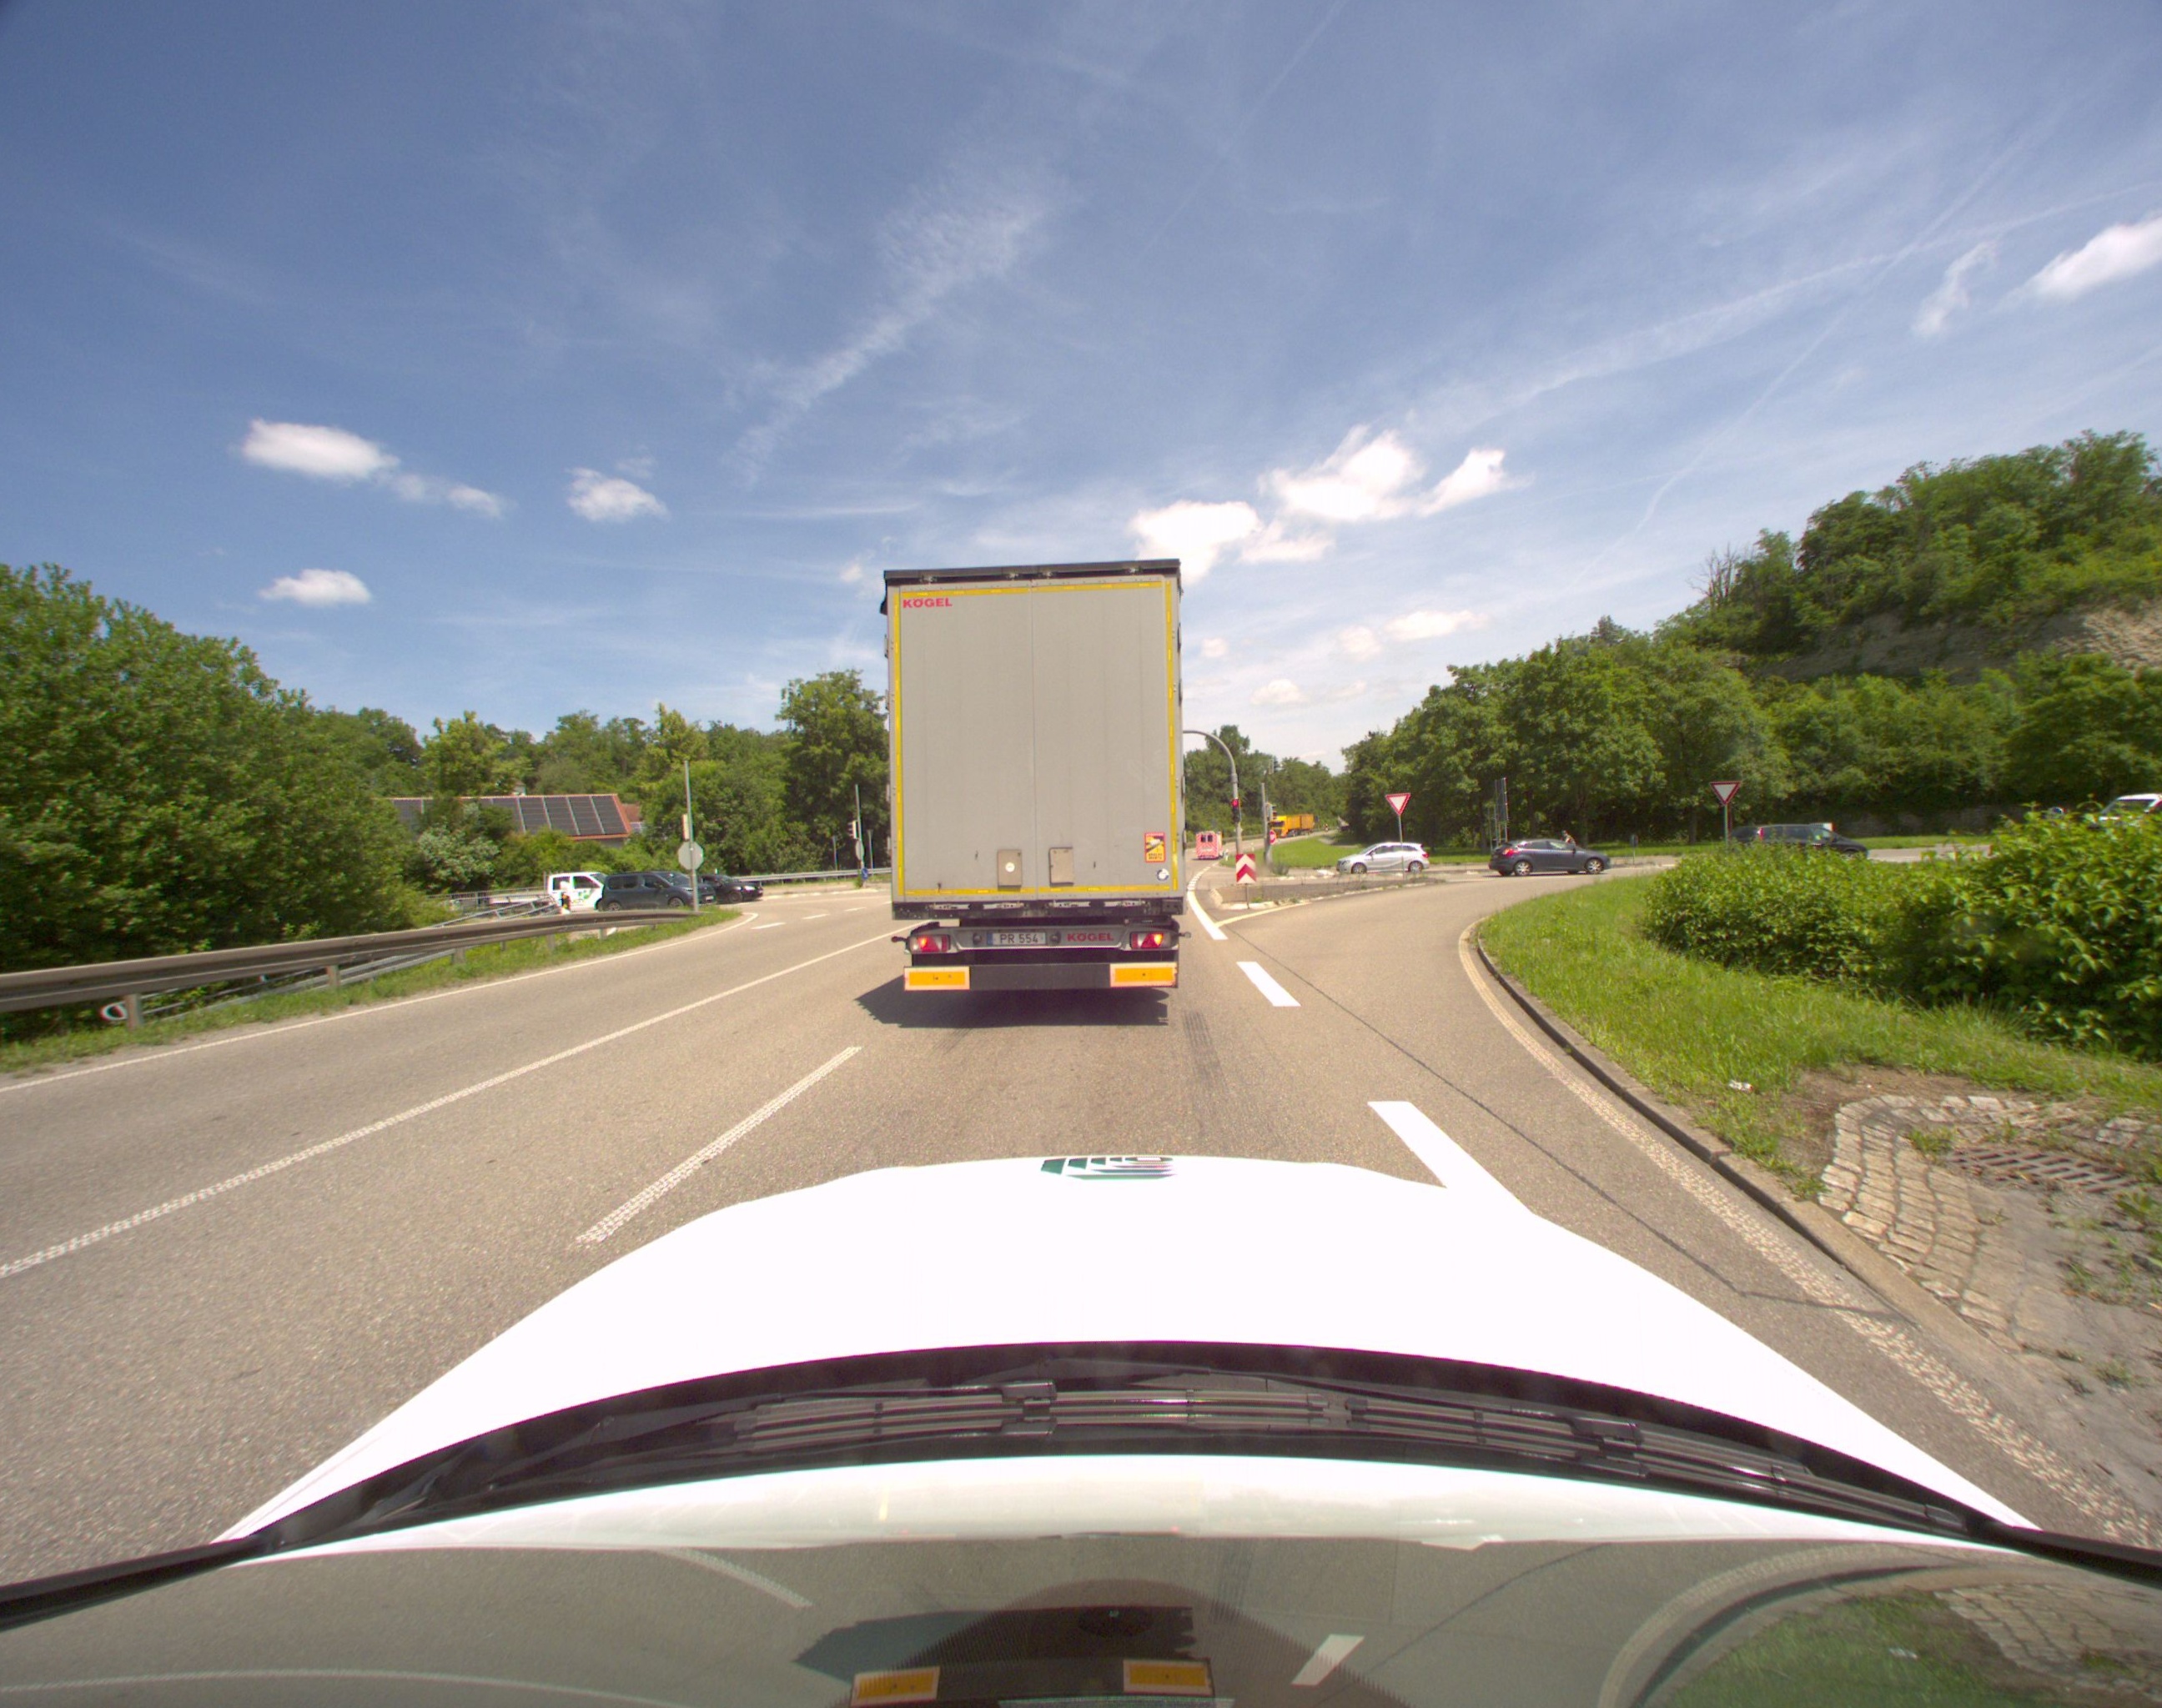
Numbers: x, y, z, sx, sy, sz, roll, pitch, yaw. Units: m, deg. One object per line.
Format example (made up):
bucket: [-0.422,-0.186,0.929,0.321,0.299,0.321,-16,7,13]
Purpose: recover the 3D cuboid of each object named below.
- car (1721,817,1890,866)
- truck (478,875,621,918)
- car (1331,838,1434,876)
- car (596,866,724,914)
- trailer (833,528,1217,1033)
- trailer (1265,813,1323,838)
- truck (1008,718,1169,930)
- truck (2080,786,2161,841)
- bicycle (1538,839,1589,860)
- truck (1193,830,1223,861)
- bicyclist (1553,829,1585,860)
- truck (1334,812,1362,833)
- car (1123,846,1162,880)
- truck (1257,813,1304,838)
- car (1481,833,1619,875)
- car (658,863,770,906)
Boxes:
car: [28.319,-0.461,31.950,4.912,1.785,1.998,-1,-2,-2]
truck: [-23.543,1.868,36.262,4.877,1.791,2.036,0,-2,-11]
car: [14.744,0.174,40.078,4.405,1.718,2.003,-1,-2,6]
car: [-17.008,1.441,33.018,4.206,1.770,2.006,-2,-1,11]
trailer: [-0.056,-0.589,12.936,3.038,4.034,12.571,-2,0,4]
trailer: [42.307,-5.591,160.735,4.962,4.362,20.972,-1,1,32]
truck: [0.363,-0.587,19.186,3.025,4.034,6.636,-2,0,4]
truck: [49.095,-1.840,36.649,5.114,2.296,2.005,-1,-2,9]
bicycle: [23.382,-0.220,39.493,1.983,0.995,0.797,-1,-2,-1]
truck: [12.366,-0.777,79.180,2.477,2.728,6.050,-1,-2,12]
bicyclist: [23.646,-0.444,39.485,1.002,1.448,0.795,-1,-2,-1]
truck: [57.657,-6.756,175.607,3.148,4.028,11.819,-3,0,30]
car: [3.126,0.502,41.977,1.868,1.613,3.860,-1,-2,2]
truck: [37.777,-5.314,153.496,4.962,4.362,11.841,-1,1,32]
car: [18.297,0.023,31.970,4.220,1.491,2.004,-1,-2,8]
car: [-16.707,1.382,37.147,4.206,1.770,2.006,-2,-1,11]
